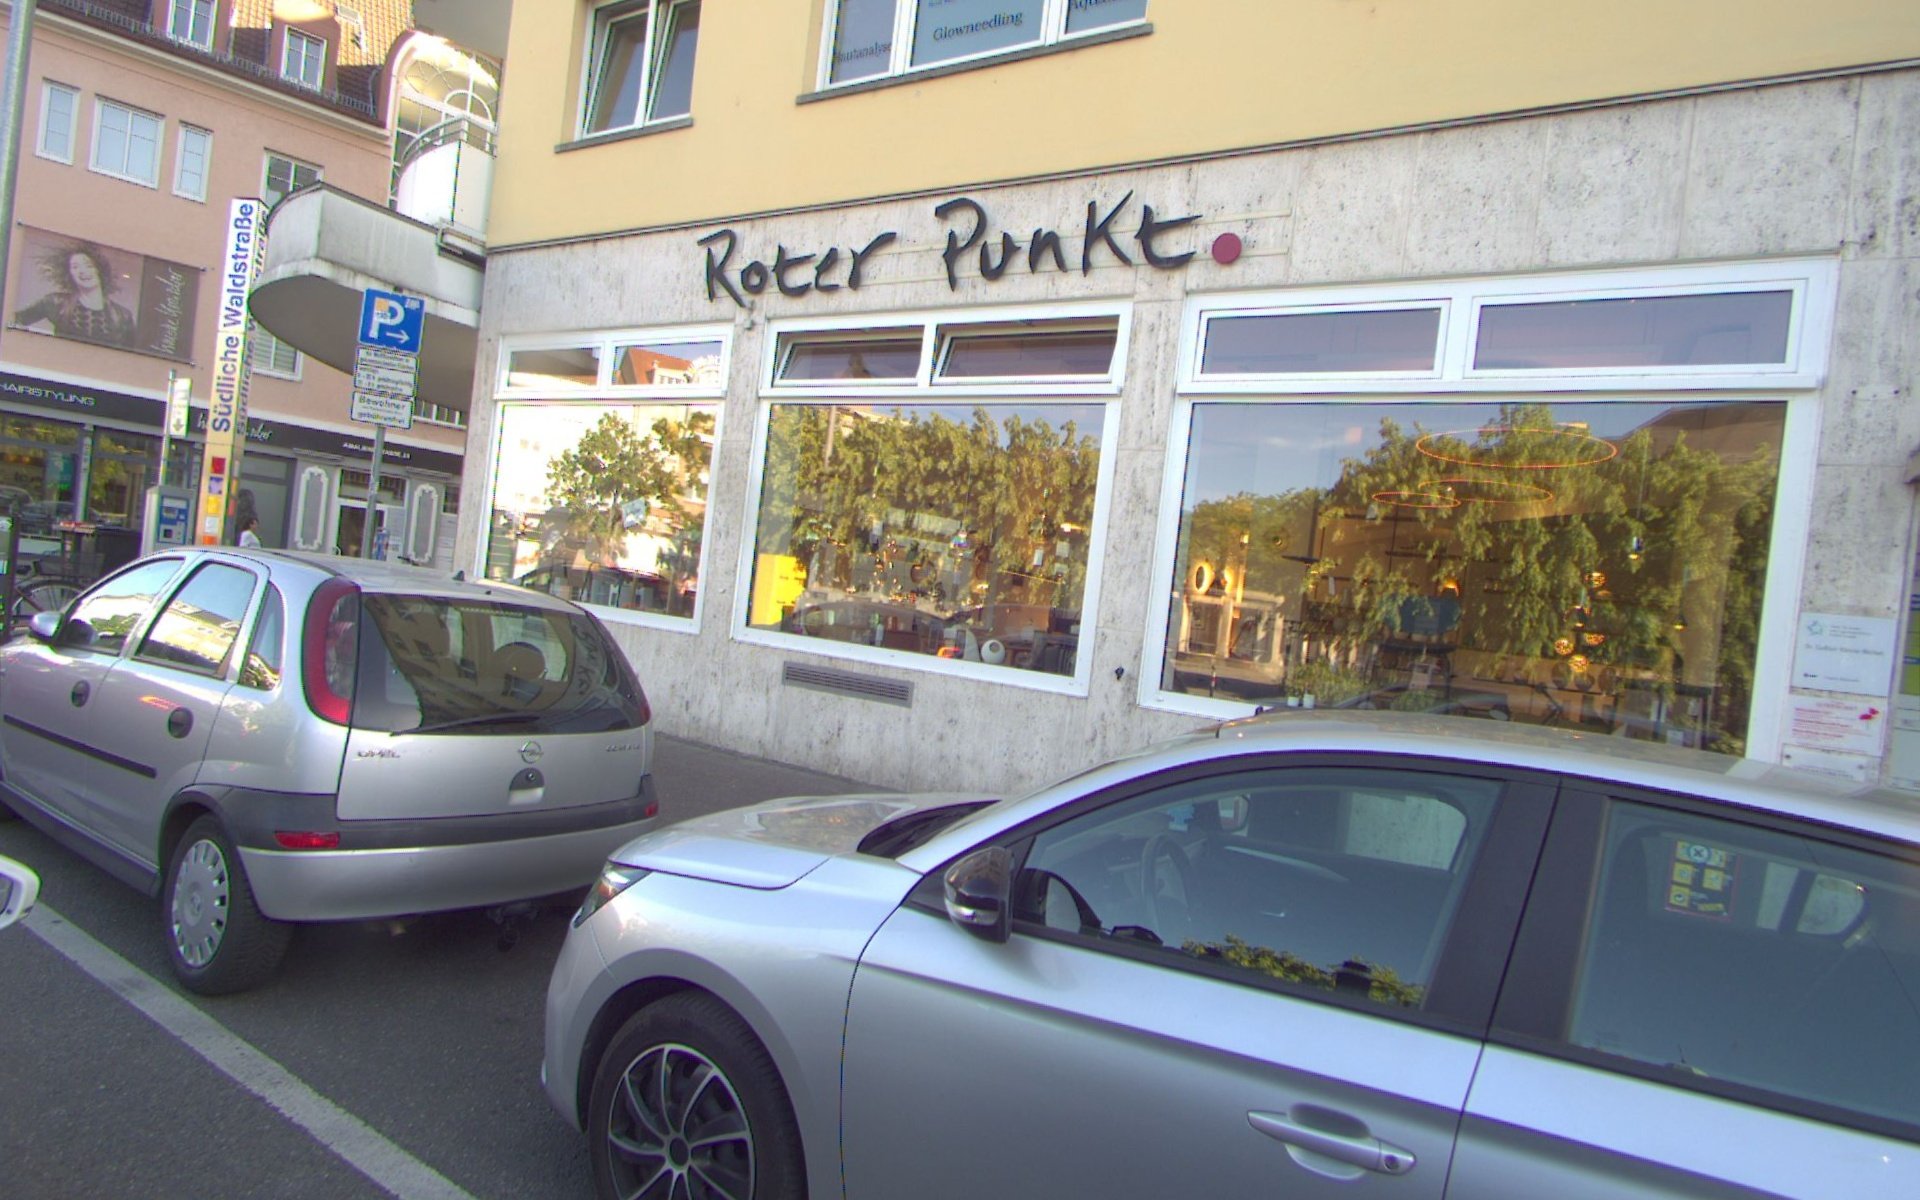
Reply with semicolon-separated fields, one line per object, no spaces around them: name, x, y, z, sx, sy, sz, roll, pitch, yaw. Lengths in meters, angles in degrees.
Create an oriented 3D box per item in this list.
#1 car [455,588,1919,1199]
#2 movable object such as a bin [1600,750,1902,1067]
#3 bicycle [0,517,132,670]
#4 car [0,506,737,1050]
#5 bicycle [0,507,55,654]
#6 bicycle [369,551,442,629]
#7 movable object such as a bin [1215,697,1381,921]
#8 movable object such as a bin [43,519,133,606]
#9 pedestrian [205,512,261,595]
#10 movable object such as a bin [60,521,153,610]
car;0.781;0.924;2.312;3.643;1.415;1.653;7;-1;30
movable object such as a bin;3.454;1.292;4.498;0.879;1.066;0.751;7;0;32
bicycle;-8.104;-0.086;8.231;0.681;1.208;1.885;8;1;37
car;-2.940;0.477;4.464;3.583;1.397;1.616;7;-2;32
bicycle;-9.108;-0.237;8.704;0.778;1.284;1.721;7;1;37
bicycle;-9.943;-0.206;17.995;0.656;1.213;2.187;7;-1;-39
movable object such as a bin;1.872;1.091;5.524;0.592;1.041;0.811;7;0;31
movable object such as a bin;-12.436;-0.528;14.352;0.617;1.105;0.734;6;-1;34
pedestrian;-14.826;-0.949;20.528;0.742;1.571;0.693;7;0;-33
movable object such as a bin;-11.900;-0.470;14.031;0.617;1.105;0.754;6;-1;34
